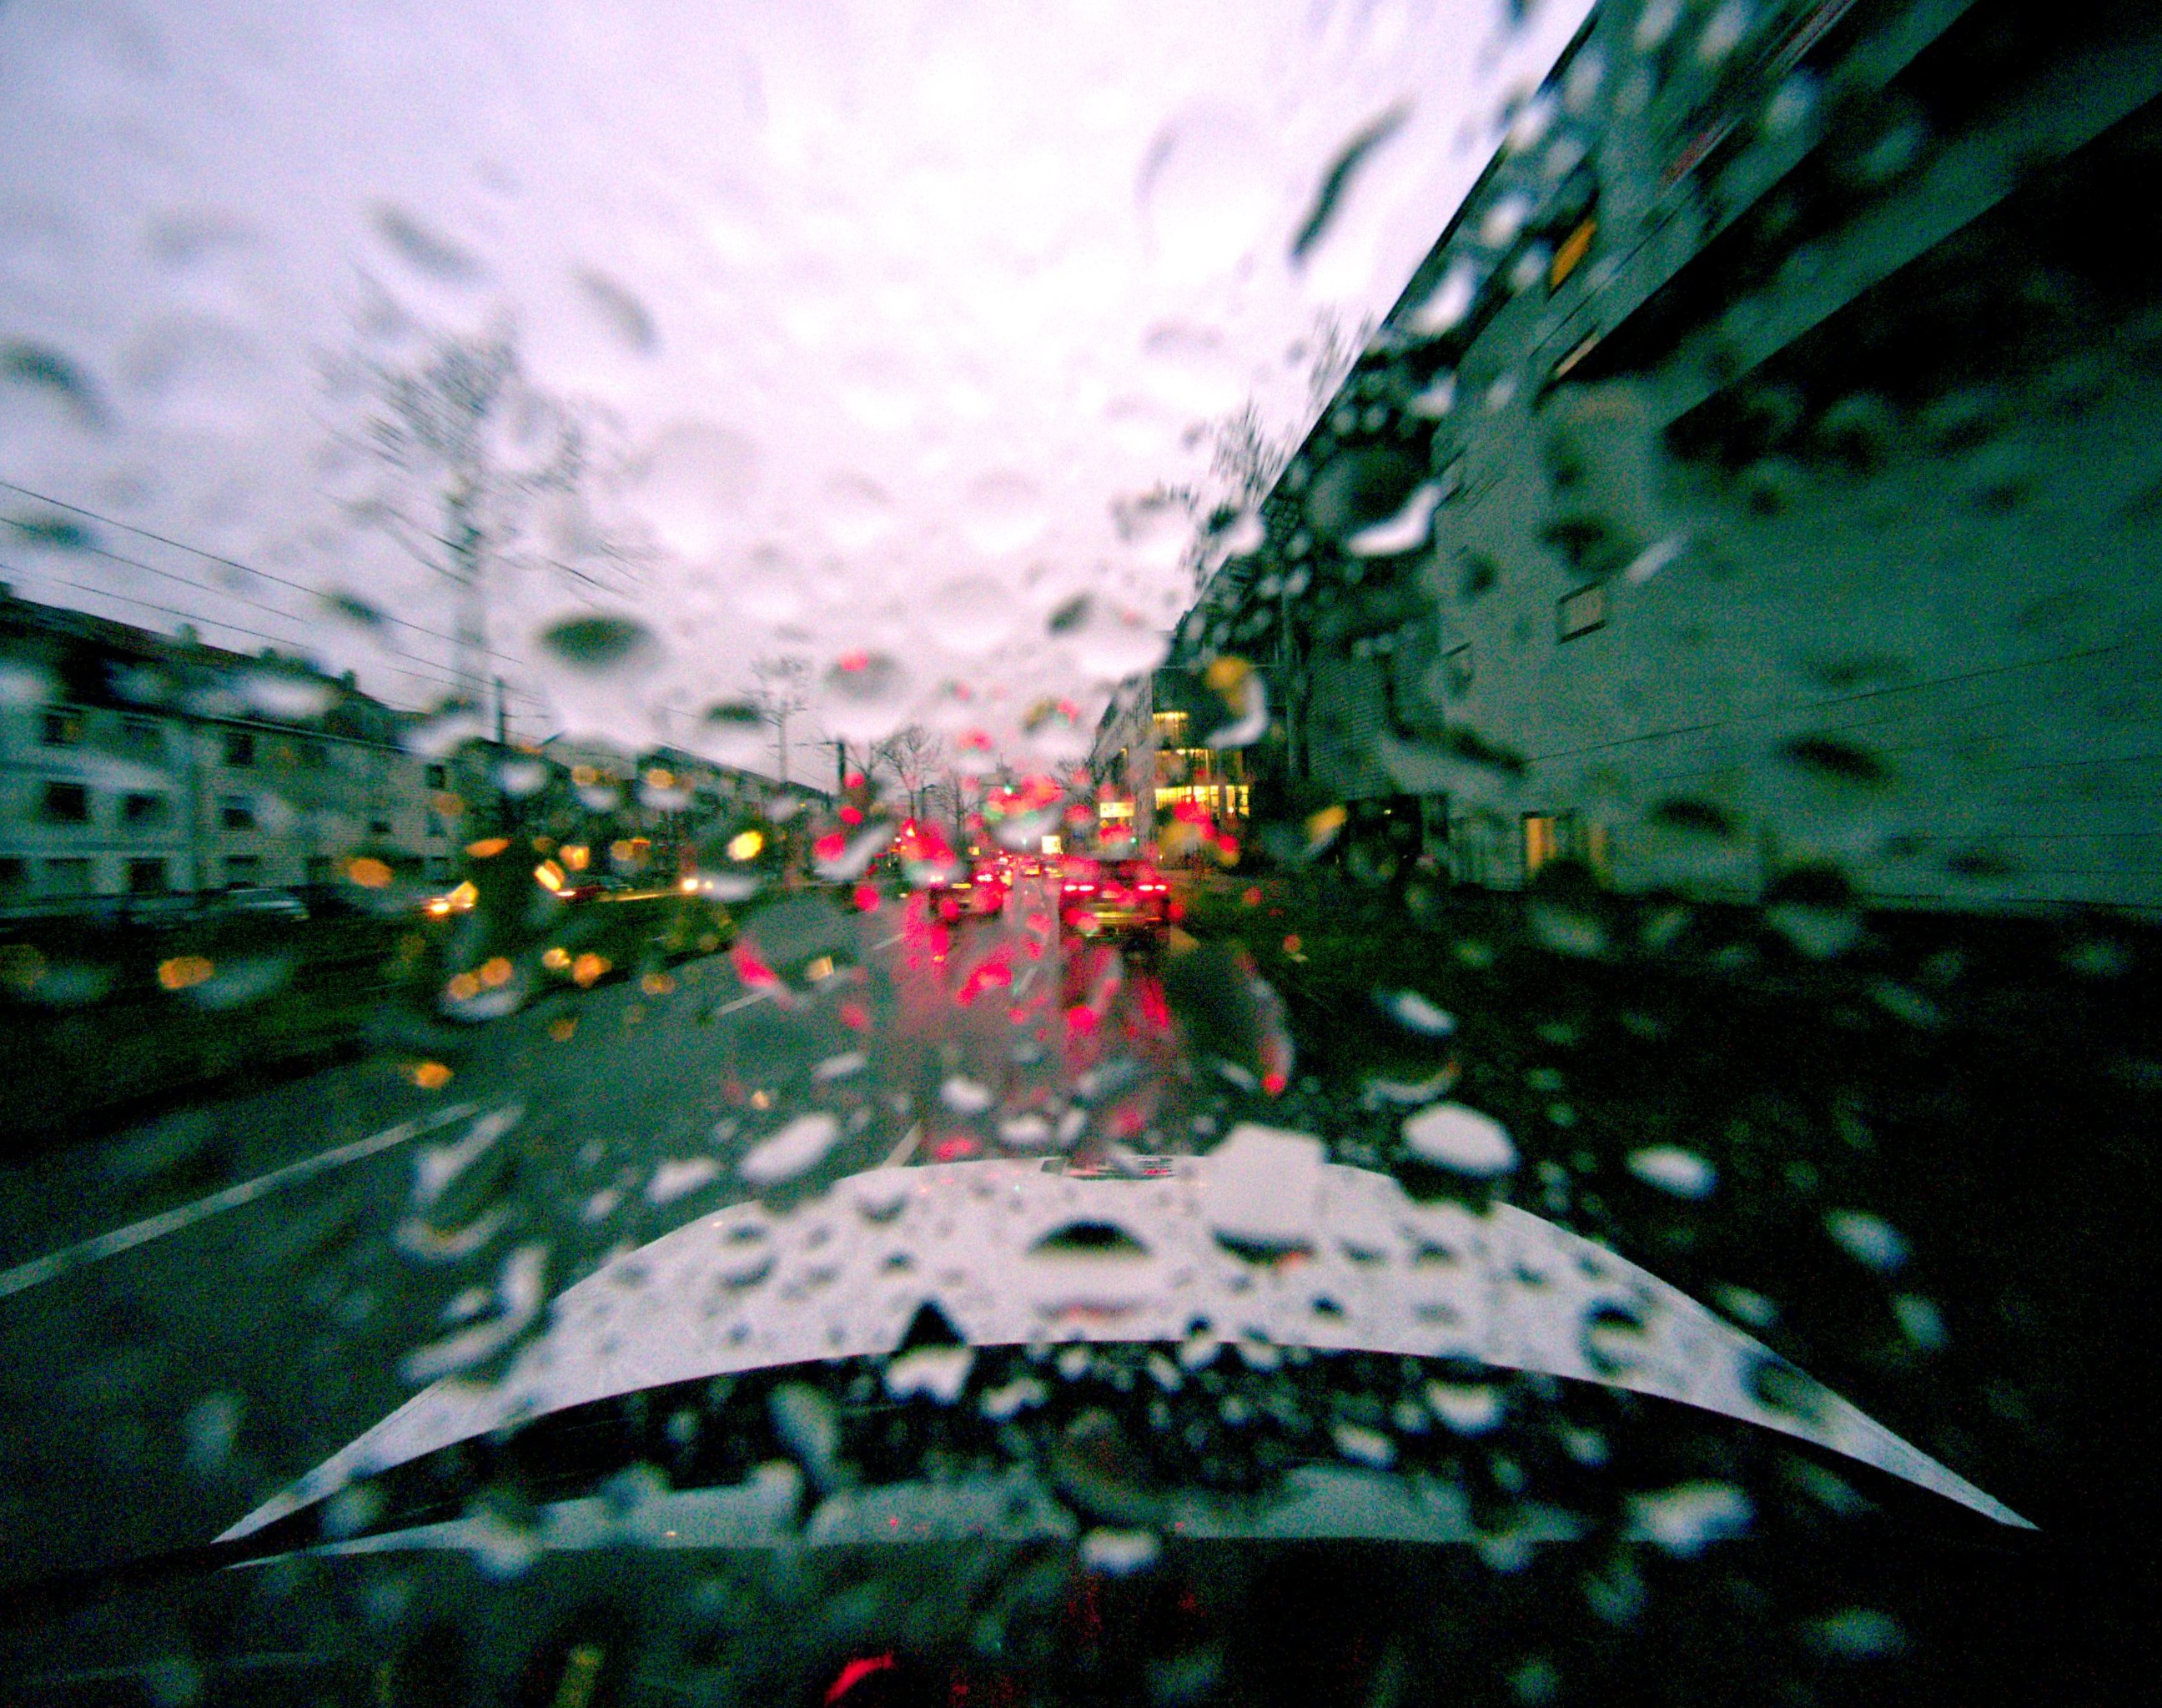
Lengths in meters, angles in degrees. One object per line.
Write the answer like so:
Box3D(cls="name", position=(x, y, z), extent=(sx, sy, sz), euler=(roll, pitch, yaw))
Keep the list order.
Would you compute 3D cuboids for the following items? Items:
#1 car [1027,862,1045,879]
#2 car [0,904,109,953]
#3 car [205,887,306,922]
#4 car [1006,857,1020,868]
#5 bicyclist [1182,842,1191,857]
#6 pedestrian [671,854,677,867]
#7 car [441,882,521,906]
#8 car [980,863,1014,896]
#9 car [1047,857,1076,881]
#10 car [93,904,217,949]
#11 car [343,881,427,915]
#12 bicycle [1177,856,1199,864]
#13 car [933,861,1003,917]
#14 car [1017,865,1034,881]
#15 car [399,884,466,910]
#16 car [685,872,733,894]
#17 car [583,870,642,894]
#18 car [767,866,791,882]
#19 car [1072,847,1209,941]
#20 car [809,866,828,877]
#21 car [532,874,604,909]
Box3D(cls="car", position=(-4.095, 1.454, 73.943), extent=(1.620, 1.498, 3.521), euler=(0, 0, -3))
Box3D(cls="car", position=(-30.750, 2.158, 24.139), extent=(3.496, 1.212, 1.758), euler=(0, 0, 27))
Box3D(cls="car", position=(-30.556, 1.843, 30.147), extent=(3.376, 1.147, 1.701), euler=(0, 0, 27))
Box3D(cls="car", position=(-10.688, 1.364, 128.020), extent=(1.989, 1.715, 3.420), euler=(0, 0, -2))
Box3D(cls="bicyclist", position=(9.054, -0.387, 69.787), extent=(0.615, 1.330, 0.569), euler=(-1, -1, 29))
Box3D(cls="pedestrian", position=(-35.621, 0.557, 71.319), extent=(0.348, 1.184, 0.429), euler=(0, -1, -45))
Box3D(cls="car", position=(-31.733, 2.092, 43.047), extent=(4.137, 1.116, 1.691), euler=(0, 0, 27))
Box3D(cls="car", position=(-4.424, 1.308, 43.313), extent=(1.686, 1.635, 3.468), euler=(0, 0, -4))
Box3D(cls="car", position=(-1.289, 1.010, 54.610), extent=(1.862, 1.543, 3.609), euler=(0, 0, -1))
Box3D(cls="car", position=(-30.506, 2.351, 26.818), extent=(3.496, 1.200, 1.894), euler=(0, 0, 27))
Box3D(cls="car", position=(-31.439, 1.937, 36.753), extent=(4.071, 1.378, 1.784), euler=(0, 0, 33))
Box3D(cls="bicycle", position=(9.140, 0.513, 69.723), extent=(1.712, 0.745, 0.655), euler=(0, -1, 29))
Box3D(cls="car", position=(-3.149, 0.922, 23.389), extent=(1.815, 1.450, 3.992), euler=(0, 0, -6))
Box3D(cls="car", position=(-5.428, 1.868, 79.785), extent=(1.611, 1.522, 3.403), euler=(0, 0, -4))
Box3D(cls="car", position=(-31.663, 2.087, 39.742), extent=(3.007, 1.147, 1.405), euler=(0, 0, 27))
Box3D(cls="car", position=(-28.924, 2.237, 63.501), extent=(1.877, 1.502, 4.782), euler=(0, 0, -5))
Box3D(cls="car", position=(-32.363, 1.900, 56.247), extent=(3.750, 1.556, 1.753), euler=(0, -1, 28))
Box3D(cls="car", position=(-38.587, 2.566, 104.010), extent=(1.992, 2.014, 3.989), euler=(0, 0, -8))
Box3D(cls="car", position=(0.937, 0.651, 14.873), extent=(1.990, 1.483, 3.694), euler=(0, -1, -4))
Box3D(cls="car", position=(-38.651, 2.560, 119.944), extent=(1.930, 1.597, 3.718), euler=(0, 0, -7))
Box3D(cls="car", position=(-26.011, 1.863, 41.446), extent=(1.610, 1.623, 3.504), euler=(0, 0, -4))
